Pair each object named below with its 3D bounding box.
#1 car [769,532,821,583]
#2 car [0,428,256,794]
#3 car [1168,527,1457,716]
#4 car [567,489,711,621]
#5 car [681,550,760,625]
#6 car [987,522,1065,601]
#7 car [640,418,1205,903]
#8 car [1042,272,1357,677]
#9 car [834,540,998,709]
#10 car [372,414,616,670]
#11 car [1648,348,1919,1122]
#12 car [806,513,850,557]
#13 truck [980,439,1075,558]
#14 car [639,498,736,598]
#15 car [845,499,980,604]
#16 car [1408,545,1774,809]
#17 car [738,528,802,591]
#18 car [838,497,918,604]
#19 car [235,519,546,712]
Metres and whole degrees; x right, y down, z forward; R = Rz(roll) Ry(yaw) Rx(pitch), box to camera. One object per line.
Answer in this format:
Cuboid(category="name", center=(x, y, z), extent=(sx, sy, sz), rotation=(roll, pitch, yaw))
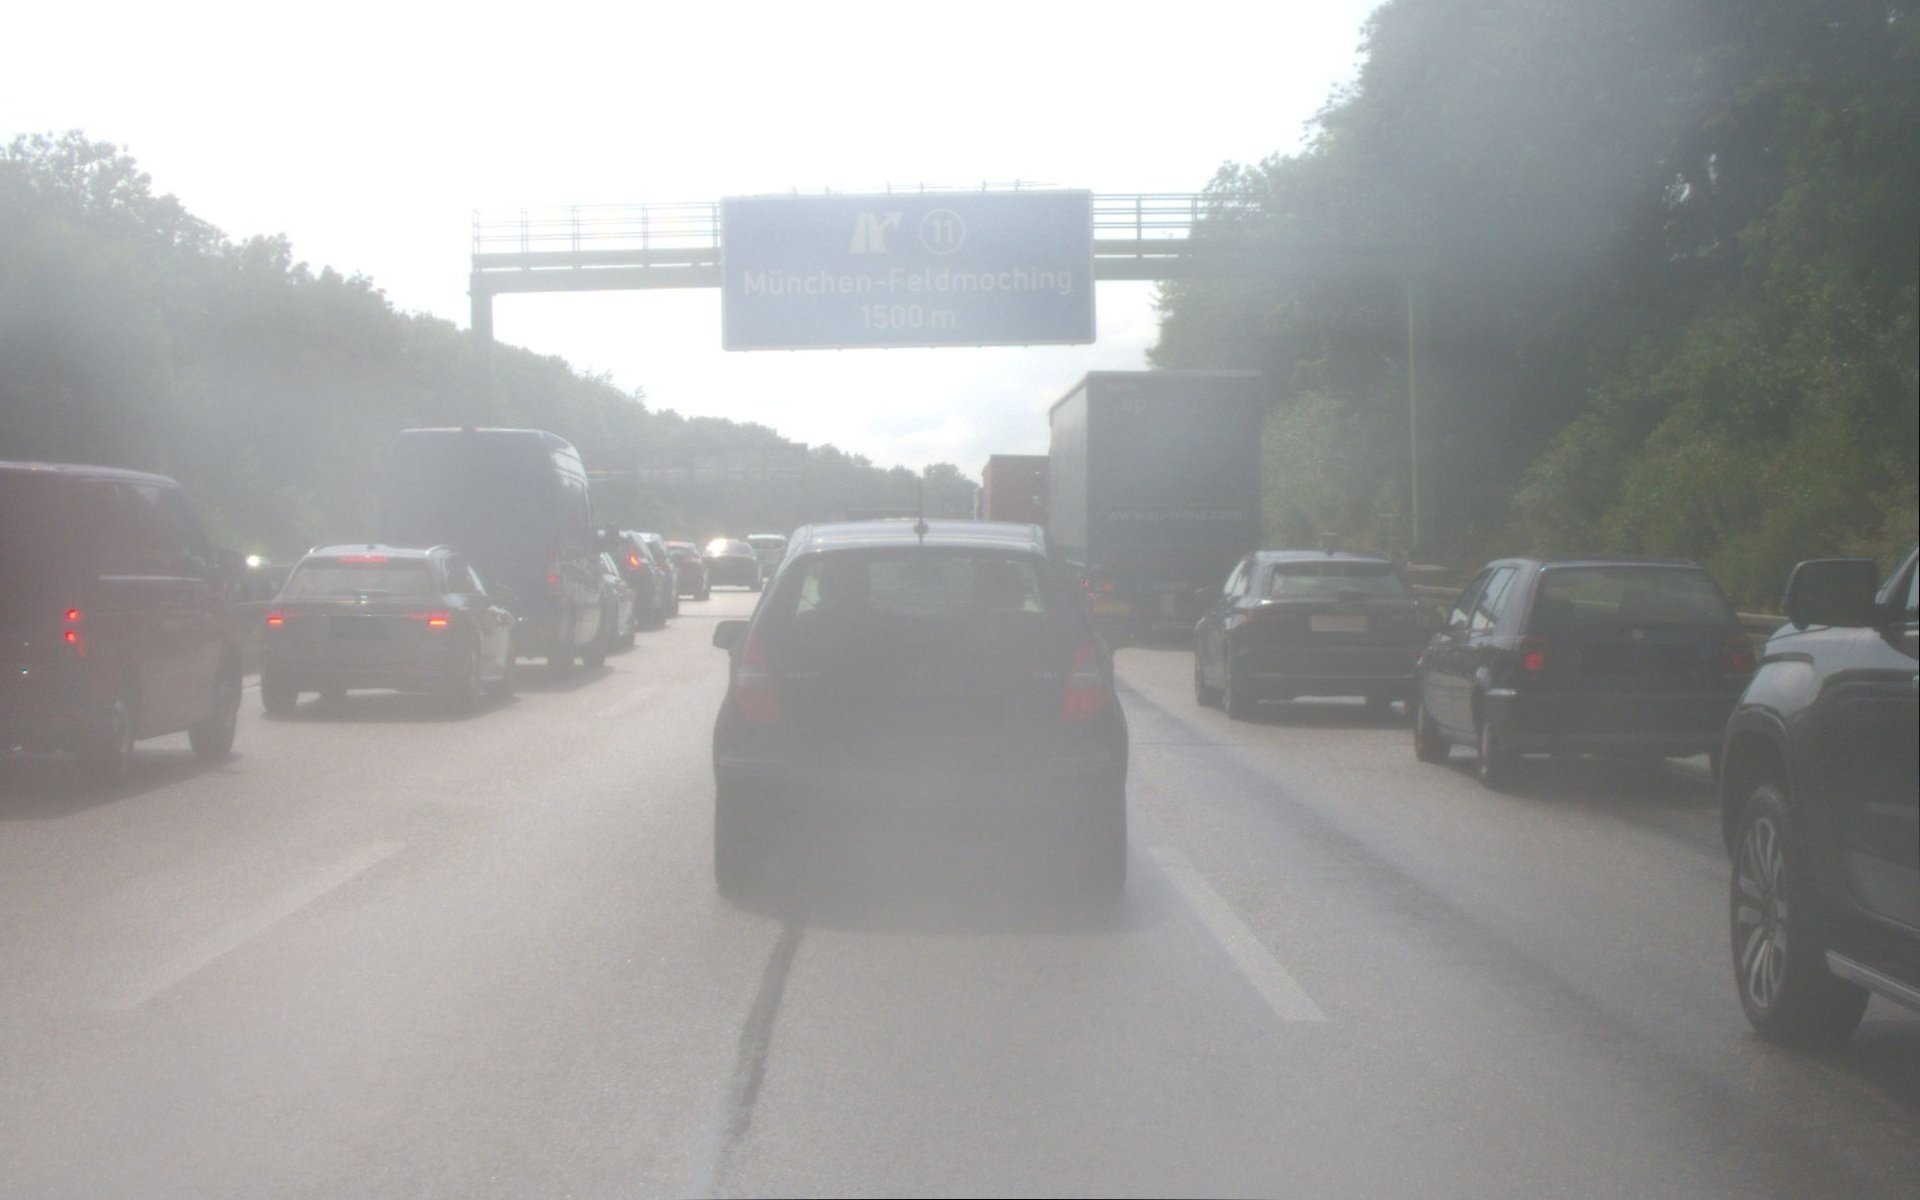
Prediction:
Cuboid(category="car", center=(-6.969, -1.795, 145.785), extent=(1.993, 2.108, 4.889), rotation=(1, 1, 0))
Cuboid(category="car", center=(-5.829, 0.026, 21.661), extent=(1.978, 2.047, 4.757), rotation=(1, 1, -2))
Cuboid(category="car", center=(2.968, 0.151, 29.719), extent=(1.864, 1.511, 3.976), rotation=(1, 1, -3))
Cuboid(category="car", center=(-5.384, -0.755, 58.164), extent=(1.993, 2.108, 4.889), rotation=(1, 1, 0))
Cuboid(category="car", center=(-6.947, -0.375, 100.156), extent=(1.993, 2.108, 4.889), rotation=(1, 1, 0))
Cuboid(category="car", center=(1.794, -1.065, 95.187), extent=(1.993, 2.108, 4.889), rotation=(1, 1, 0))
Cuboid(category="car", center=(-0.250, 0.221, 16.383), extent=(2.274, 1.948, 4.822), rotation=(1, 1, -2))
Cuboid(category="car", center=(3.664, -1.920, 58.239), extent=(4.404, 5.810, 16.818), rotation=(1, 1, 1))
Cuboid(category="car", center=(-0.549, 0.238, 38.895), extent=(1.692, 1.798, 3.976), rotation=(1, 1, -3))
Cuboid(category="car", center=(-5.056, -0.631, 38.003), extent=(1.993, 2.606, 5.260), rotation=(1, 1, 0))
Cuboid(category="car", center=(3.345, 0.341, 8.613), extent=(1.941, 1.912, 5.652), rotation=(1, 1, -2))
Cuboid(category="car", center=(-6.489, -3.179, 169.549), extent=(1.993, 2.108, 4.889), rotation=(1, 1, 0))
Cuboid(category="truck", center=(2.090, -3.158, 108.614), extent=(2.775, 3.619, 5.917), rotation=(1, 1, 0))
Cuboid(category="car", center=(-6.700, -1.289, 85.085), extent=(1.993, 2.377, 5.260), rotation=(1, 1, 0))
Cuboid(category="car", center=(-0.758, -0.730, 51.909), extent=(1.864, 1.511, 3.976), rotation=(1, 1, -3))
Cuboid(category="car", center=(3.917, 0.421, 21.921), extent=(1.591, 1.511, 3.976), rotation=(1, 1, 0))
Cuboid(category="car", center=(-6.579, -1.415, 119.509), extent=(1.993, 2.108, 4.889), rotation=(1, 1, 0))
Cuboid(category="car", center=(-2.154, -1.313, 91.462), extent=(1.993, 2.737, 5.260), rotation=(1, 1, 0))
Cuboid(category="car", center=(-4.955, 0.096, 30.563), extent=(1.993, 1.559, 4.756), rotation=(1, 1, 0))
